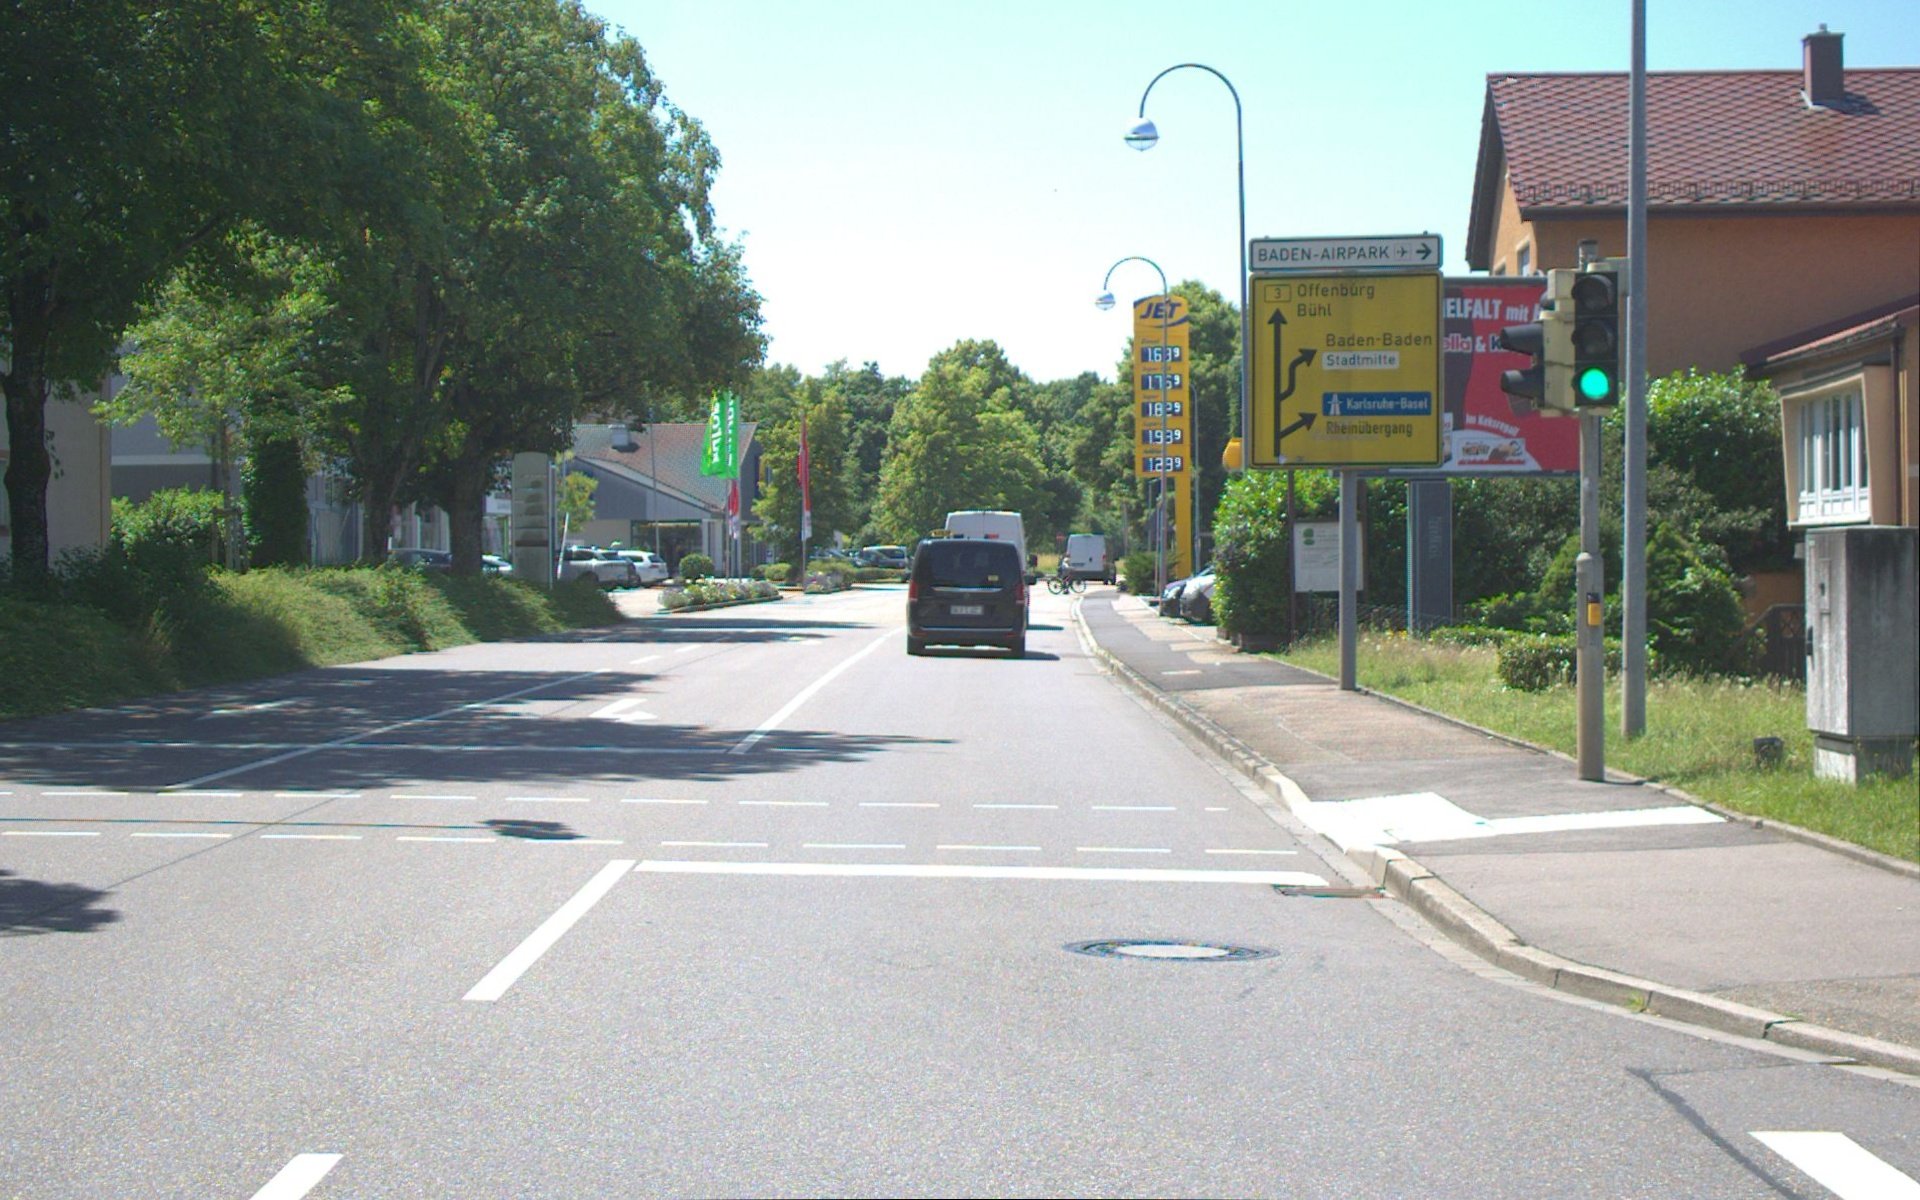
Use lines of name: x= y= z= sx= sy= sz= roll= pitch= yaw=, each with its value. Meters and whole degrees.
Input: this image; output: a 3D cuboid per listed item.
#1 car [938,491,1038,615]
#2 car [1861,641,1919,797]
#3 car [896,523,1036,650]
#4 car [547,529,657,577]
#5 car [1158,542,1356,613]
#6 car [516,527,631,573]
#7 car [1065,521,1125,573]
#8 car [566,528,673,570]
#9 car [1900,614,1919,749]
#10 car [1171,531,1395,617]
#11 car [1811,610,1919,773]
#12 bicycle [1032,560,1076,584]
car: x=0.636 y=-1.104 z=78.134 sx=2.120 sy=2.668 sz=5.662 roll=1 pitch=2 yaw=1
car: x=10.775 y=1.186 z=33.475 sx=3.622 sy=1.412 sz=1.698 roll=1 pitch=2 yaw=6
car: x=0.058 y=-0.253 z=55.054 sx=1.993 sy=1.886 sz=4.001 roll=1 pitch=2 yaw=-3
car: x=-14.510 y=-1.918 z=139.434 sx=3.989 sy=1.826 sz=1.945 roll=2 pitch=2 yaw=13
car: x=6.616 y=-0.514 z=76.875 sx=4.156 sy=1.452 sz=1.907 roll=-2 pitch=2 yaw=-4
car: x=-15.172 y=-1.976 z=135.136 sx=4.045 sy=1.700 sz=1.901 roll=2 pitch=2 yaw=18
car: x=6.957 y=-2.756 z=176.871 sx=2.353 sy=2.538 sz=4.954 roll=2 pitch=2 yaw=10
car: x=-14.141 y=-2.126 z=142.800 sx=3.989 sy=1.656 sz=1.999 roll=2 pitch=2 yaw=11
car: x=13.952 y=1.017 z=42.500 sx=4.261 sy=1.593 sz=1.889 roll=0 pitch=1 yaw=8
car: x=6.989 y=-0.574 z=74.700 sx=4.556 sy=1.711 sz=2.000 roll=-2 pitch=2 yaw=-3
car: x=11.537 y=1.006 z=37.022 sx=4.272 sy=1.641 sz=1.890 roll=1 pitch=2 yaw=2
bicycle: x=3.782 y=-1.131 z=137.880 sx=1.715 sy=0.884 sz=0.558 roll=-2 pitch=4 yaw=-28
